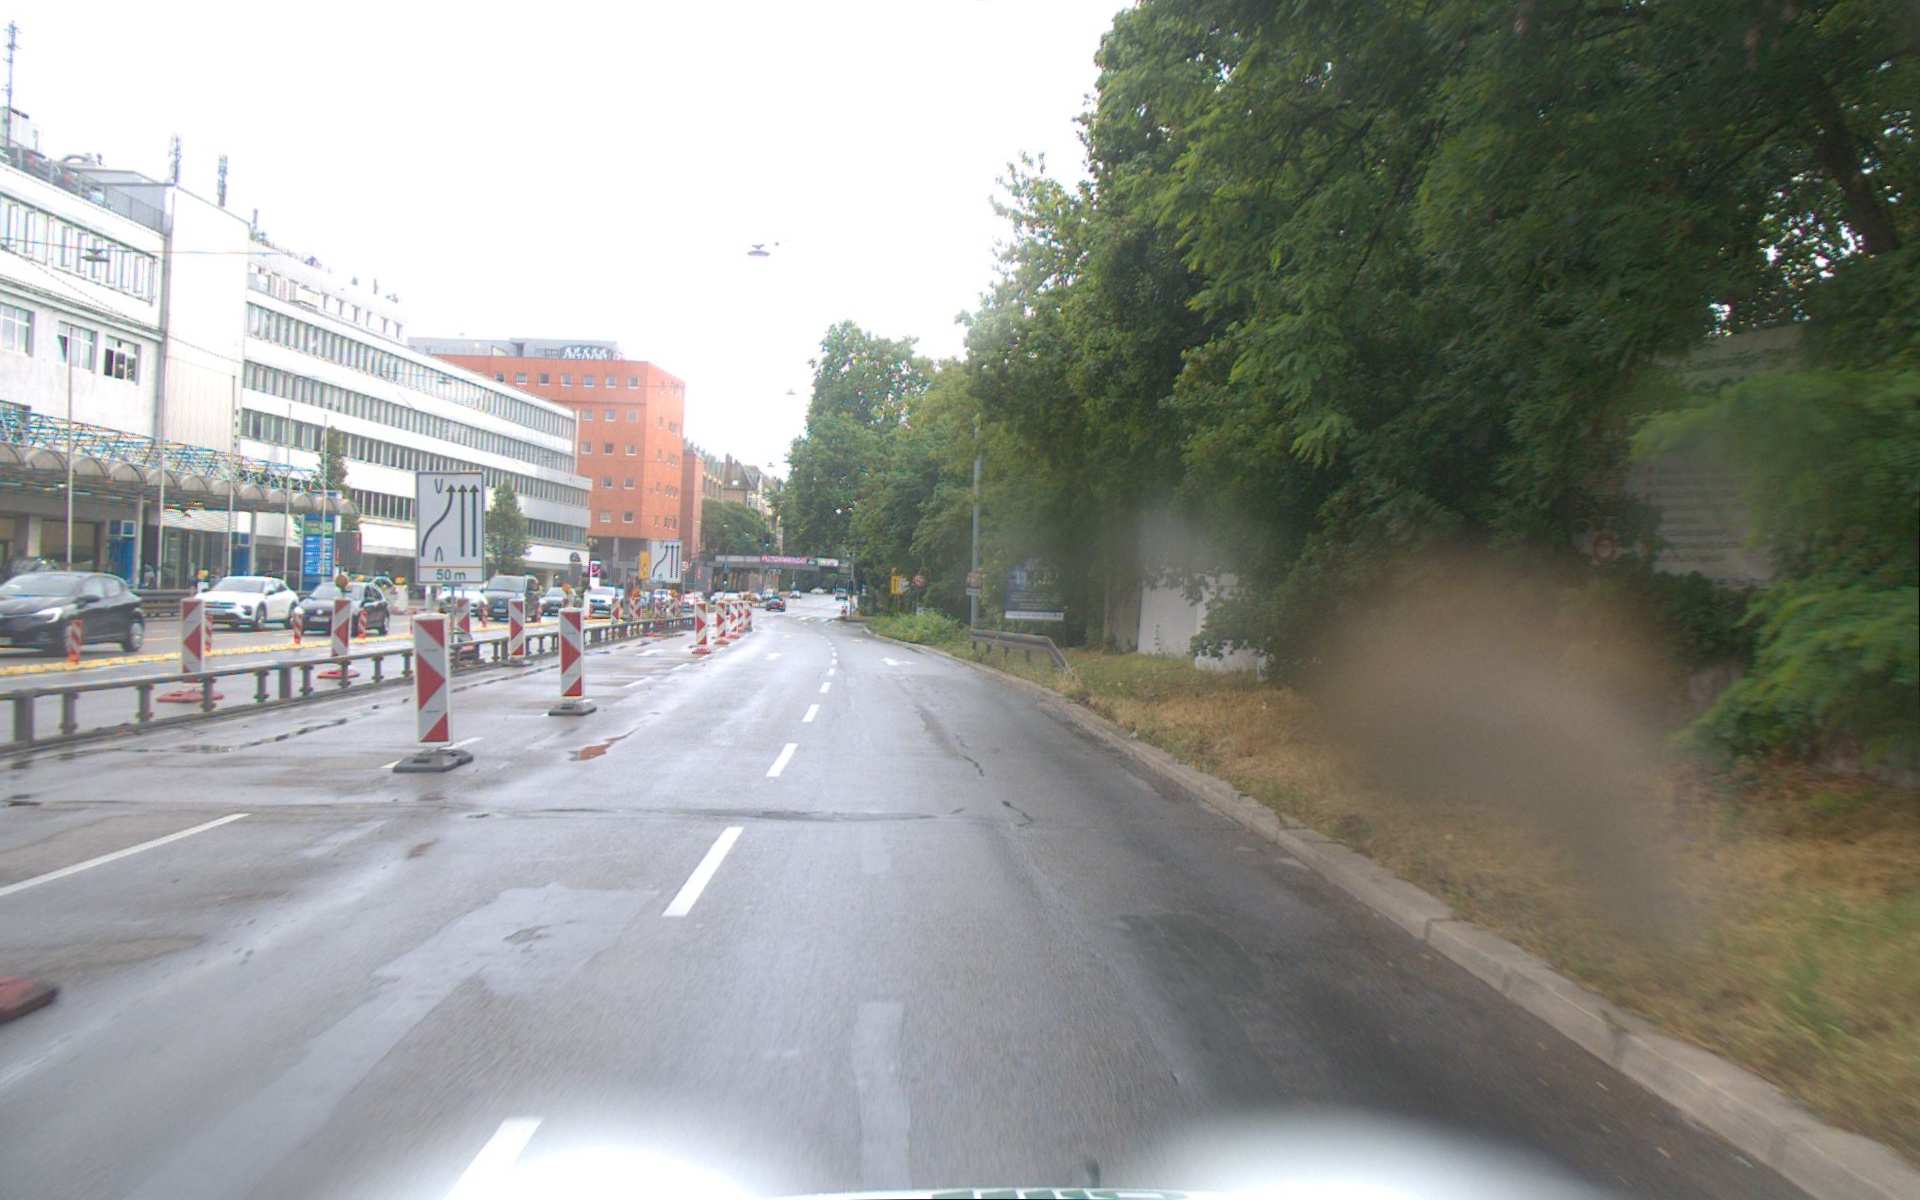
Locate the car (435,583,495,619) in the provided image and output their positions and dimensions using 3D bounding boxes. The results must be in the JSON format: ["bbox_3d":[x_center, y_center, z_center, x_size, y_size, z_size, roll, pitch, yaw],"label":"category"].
[{"bbox_3d":[-22.727,0.041,76.115,1.713,1.612,4.261,1,0,-4],"label":"car"}]

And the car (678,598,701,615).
[{"bbox_3d":[-24.358,0.615,148.959,1.702,1.428,4.284,3,0,-6],"label":"car"}]

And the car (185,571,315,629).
[{"bbox_3d":[-20.106,-0.011,47.067,1.747,1.534,4.521,1,0,-1],"label":"car"}]

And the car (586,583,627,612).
[{"bbox_3d":[-21.934,-0.140,102.833,1.901,1.719,4.575,1,0,-5],"label":"car"}]

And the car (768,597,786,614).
[{"bbox_3d":[-19.230,0.588,173.912,1.728,1.726,3.703,1,0,-3],"label":"car"}]

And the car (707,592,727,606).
[{"bbox_3d":[-28.886,-0.126,196.616,1.771,1.585,4.300,2,0,-1],"label":"car"}]

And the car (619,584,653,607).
[{"bbox_3d":[-23.580,-0.362,120.398,1.921,1.547,4.295,2,0,-5],"label":"car"}]

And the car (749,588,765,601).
[{"bbox_3d":[-28.239,-0.732,230.114,1.699,1.817,4.299,1,0,-2],"label":"car"}]

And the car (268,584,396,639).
[{"bbox_3d":[-16.974,0.293,44.953,1.761,1.375,4.810,1,0,-2],"label":"car"}]

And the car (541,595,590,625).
[{"bbox_3d":[-20.645,0.502,86.714,1.815,1.492,4.702,1,0,-5],"label":"car"}]

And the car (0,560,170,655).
[{"bbox_3d":[-15.977,0.108,29.345,1.747,1.534,4.521,1,0,-1],"label":"car"}]

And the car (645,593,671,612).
[{"bbox_3d":[-28.376,0.222,155.586,1.941,1.737,4.825,2,0,-6],"label":"car"}]

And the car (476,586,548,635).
[{"bbox_3d":[-18.735,0.419,69.450,1.954,1.970,5.226,1,0,-4],"label":"car"}]
